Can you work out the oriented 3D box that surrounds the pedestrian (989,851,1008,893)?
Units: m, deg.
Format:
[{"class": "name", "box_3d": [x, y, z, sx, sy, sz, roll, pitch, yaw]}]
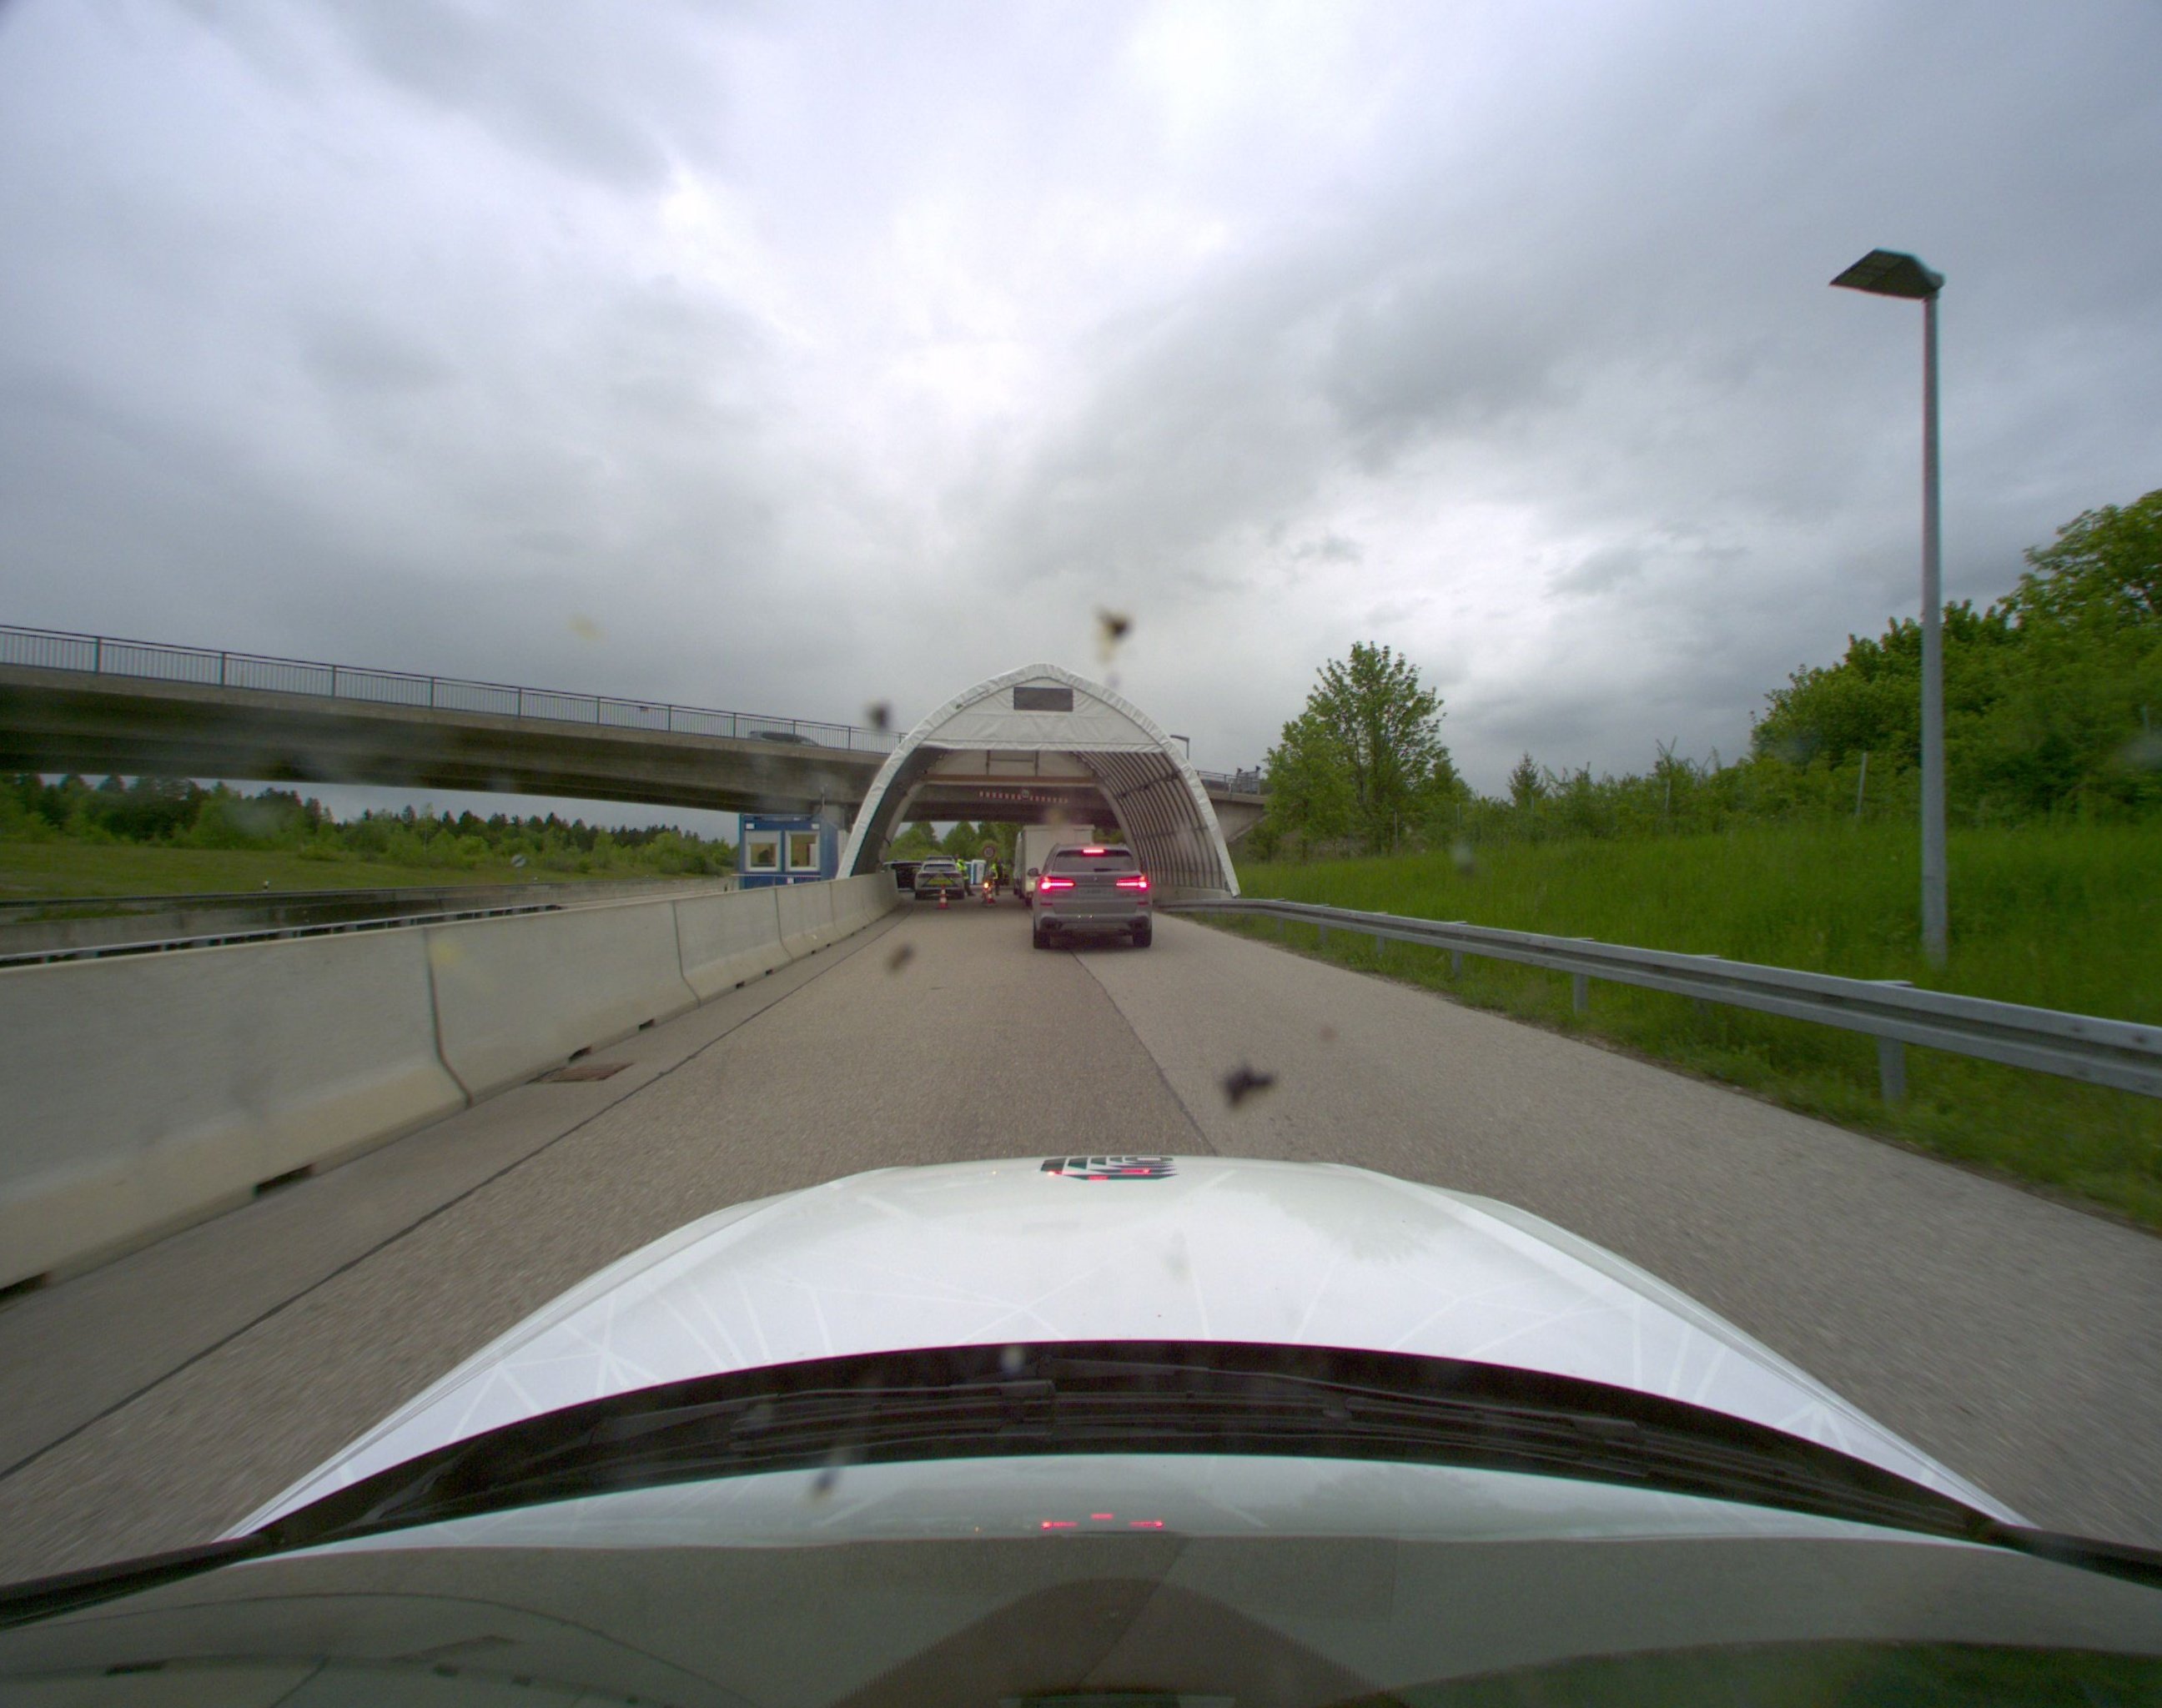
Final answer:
[{"class": "pedestrian", "box_3d": [-3.570, 0.779, 35.334, 0.600, 1.775, 0.652, -2, -1, 13]}]

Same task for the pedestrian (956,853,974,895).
[{"class": "pedestrian", "box_3d": [-4.949, 0.852, 34.806, 0.720, 1.775, 0.688, -1, -1, -9]}]

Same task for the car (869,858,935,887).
[{"class": "car", "box_3d": [-12.058, 1.228, 54.990, 3.966, 1.854, 1.712, -2, -1, 6]}]

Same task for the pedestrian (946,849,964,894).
[{"class": "pedestrian", "box_3d": [-5.538, 0.772, 35.726, 0.720, 1.945, 0.688, -1, -1, -9]}]

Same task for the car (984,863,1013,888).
[{"class": "car", "box_3d": [-6.561, 1.707, 64.165, 1.706, 1.854, 3.980, -1, -1, -14]}]

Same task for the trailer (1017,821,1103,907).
[{"class": "trailer", "box_3d": [-0.856, 0.362, 26.923, 2.276, 2.431, 6.801, -1, -1, -6]}]

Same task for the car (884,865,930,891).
[{"class": "car", "box_3d": [-10.294, 1.386, 47.989, 1.526, 1.442, 3.280, -1, -1, -34]}]

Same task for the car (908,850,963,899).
[{"class": "car", "box_3d": [-5.730, 0.802, 32.324, 1.993, 1.772, 3.753, -1, -1, -9]}]

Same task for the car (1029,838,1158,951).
[{"class": "car", "box_3d": [0.159, 0.661, 14.684, 1.988, 1.720, 3.997, -1, -1, -1]}]

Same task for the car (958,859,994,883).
[{"class": "car", "box_3d": [-9.558, 1.532, 73.813, 2.005, 2.014, 3.963, -1, -1, -28]}]

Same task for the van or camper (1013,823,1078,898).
[{"class": "van or camper", "box_3d": [-1.565, 0.308, 33.178, 2.155, 2.764, 5.855, -1, -1, -7]}]
